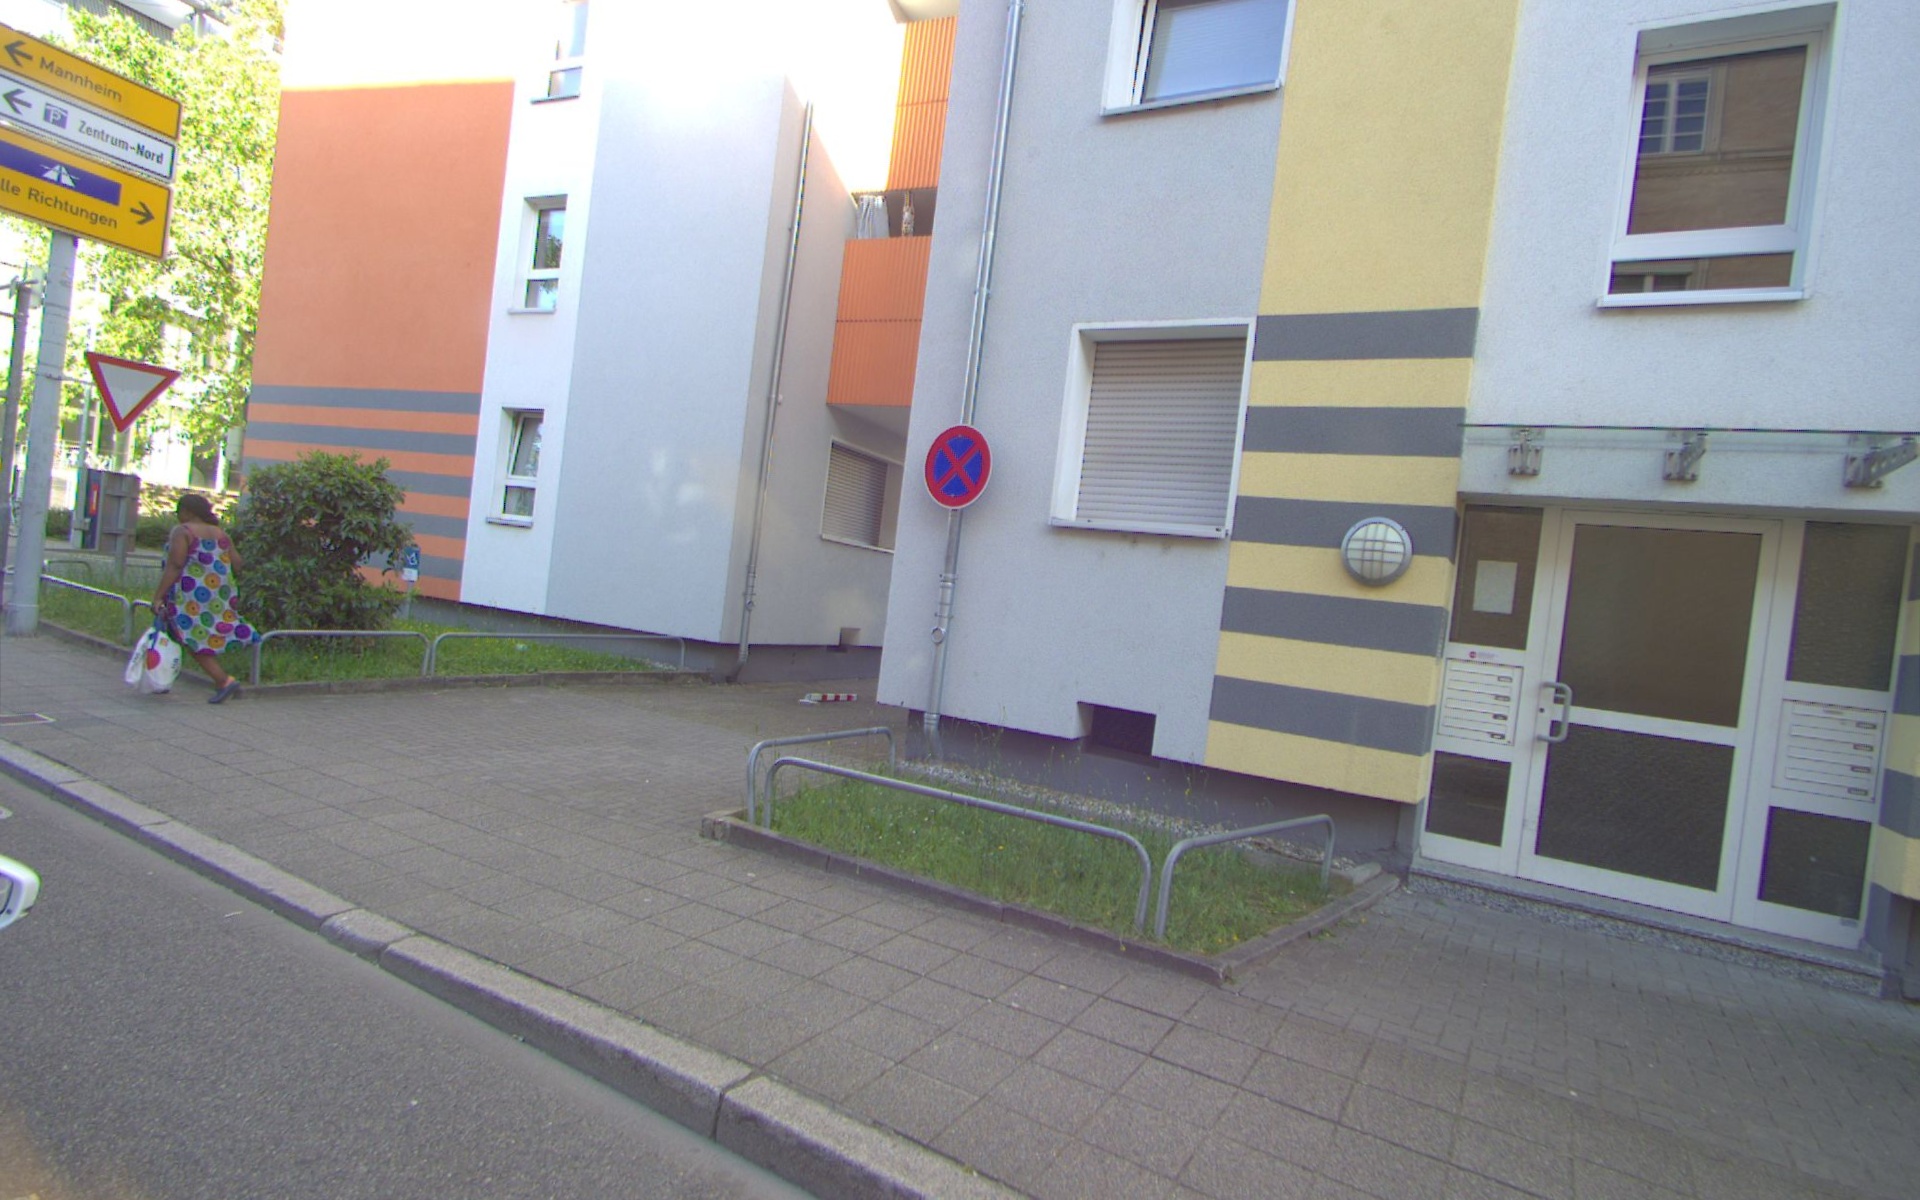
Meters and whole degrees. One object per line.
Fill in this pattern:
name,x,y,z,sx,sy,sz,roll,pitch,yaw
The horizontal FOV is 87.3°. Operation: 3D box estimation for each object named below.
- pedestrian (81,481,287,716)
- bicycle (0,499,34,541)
pedestrian,-5.795,-0.023,7.567,0.736,1.595,0.956,5,3,3
bicycle,-26.430,-2.254,27.289,1.883,1.062,0.463,7,1,-10
